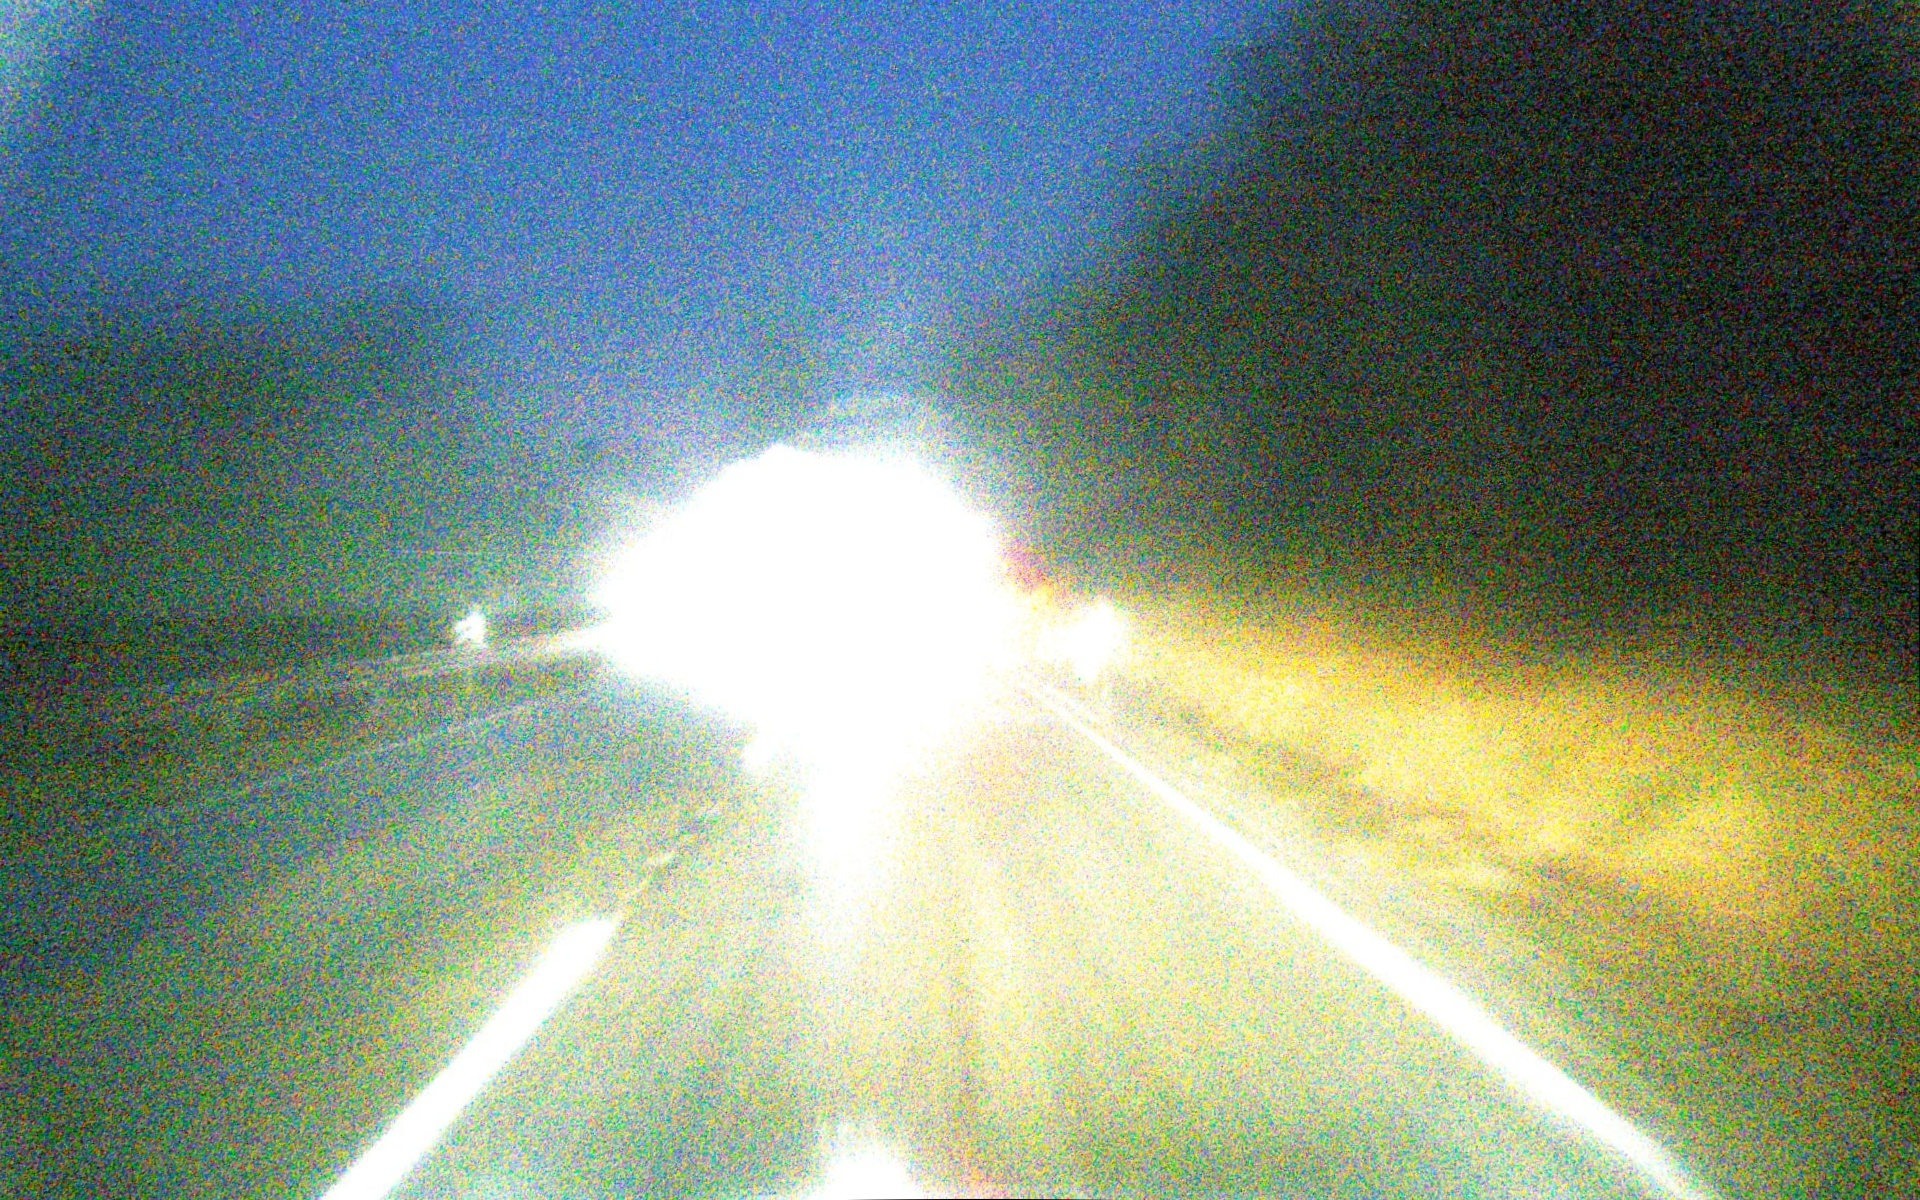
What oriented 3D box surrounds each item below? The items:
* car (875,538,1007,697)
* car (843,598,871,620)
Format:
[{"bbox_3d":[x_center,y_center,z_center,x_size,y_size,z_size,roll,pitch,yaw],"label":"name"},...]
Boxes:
[{"bbox_3d":[-0.327,0.225,30.336,2.136,2.601,4.508,3,2,0],"label":"car"},{"bbox_3d":[-7.565,0.679,121.353,1.935,1.542,4.345,1,0,-2],"label":"car"}]
